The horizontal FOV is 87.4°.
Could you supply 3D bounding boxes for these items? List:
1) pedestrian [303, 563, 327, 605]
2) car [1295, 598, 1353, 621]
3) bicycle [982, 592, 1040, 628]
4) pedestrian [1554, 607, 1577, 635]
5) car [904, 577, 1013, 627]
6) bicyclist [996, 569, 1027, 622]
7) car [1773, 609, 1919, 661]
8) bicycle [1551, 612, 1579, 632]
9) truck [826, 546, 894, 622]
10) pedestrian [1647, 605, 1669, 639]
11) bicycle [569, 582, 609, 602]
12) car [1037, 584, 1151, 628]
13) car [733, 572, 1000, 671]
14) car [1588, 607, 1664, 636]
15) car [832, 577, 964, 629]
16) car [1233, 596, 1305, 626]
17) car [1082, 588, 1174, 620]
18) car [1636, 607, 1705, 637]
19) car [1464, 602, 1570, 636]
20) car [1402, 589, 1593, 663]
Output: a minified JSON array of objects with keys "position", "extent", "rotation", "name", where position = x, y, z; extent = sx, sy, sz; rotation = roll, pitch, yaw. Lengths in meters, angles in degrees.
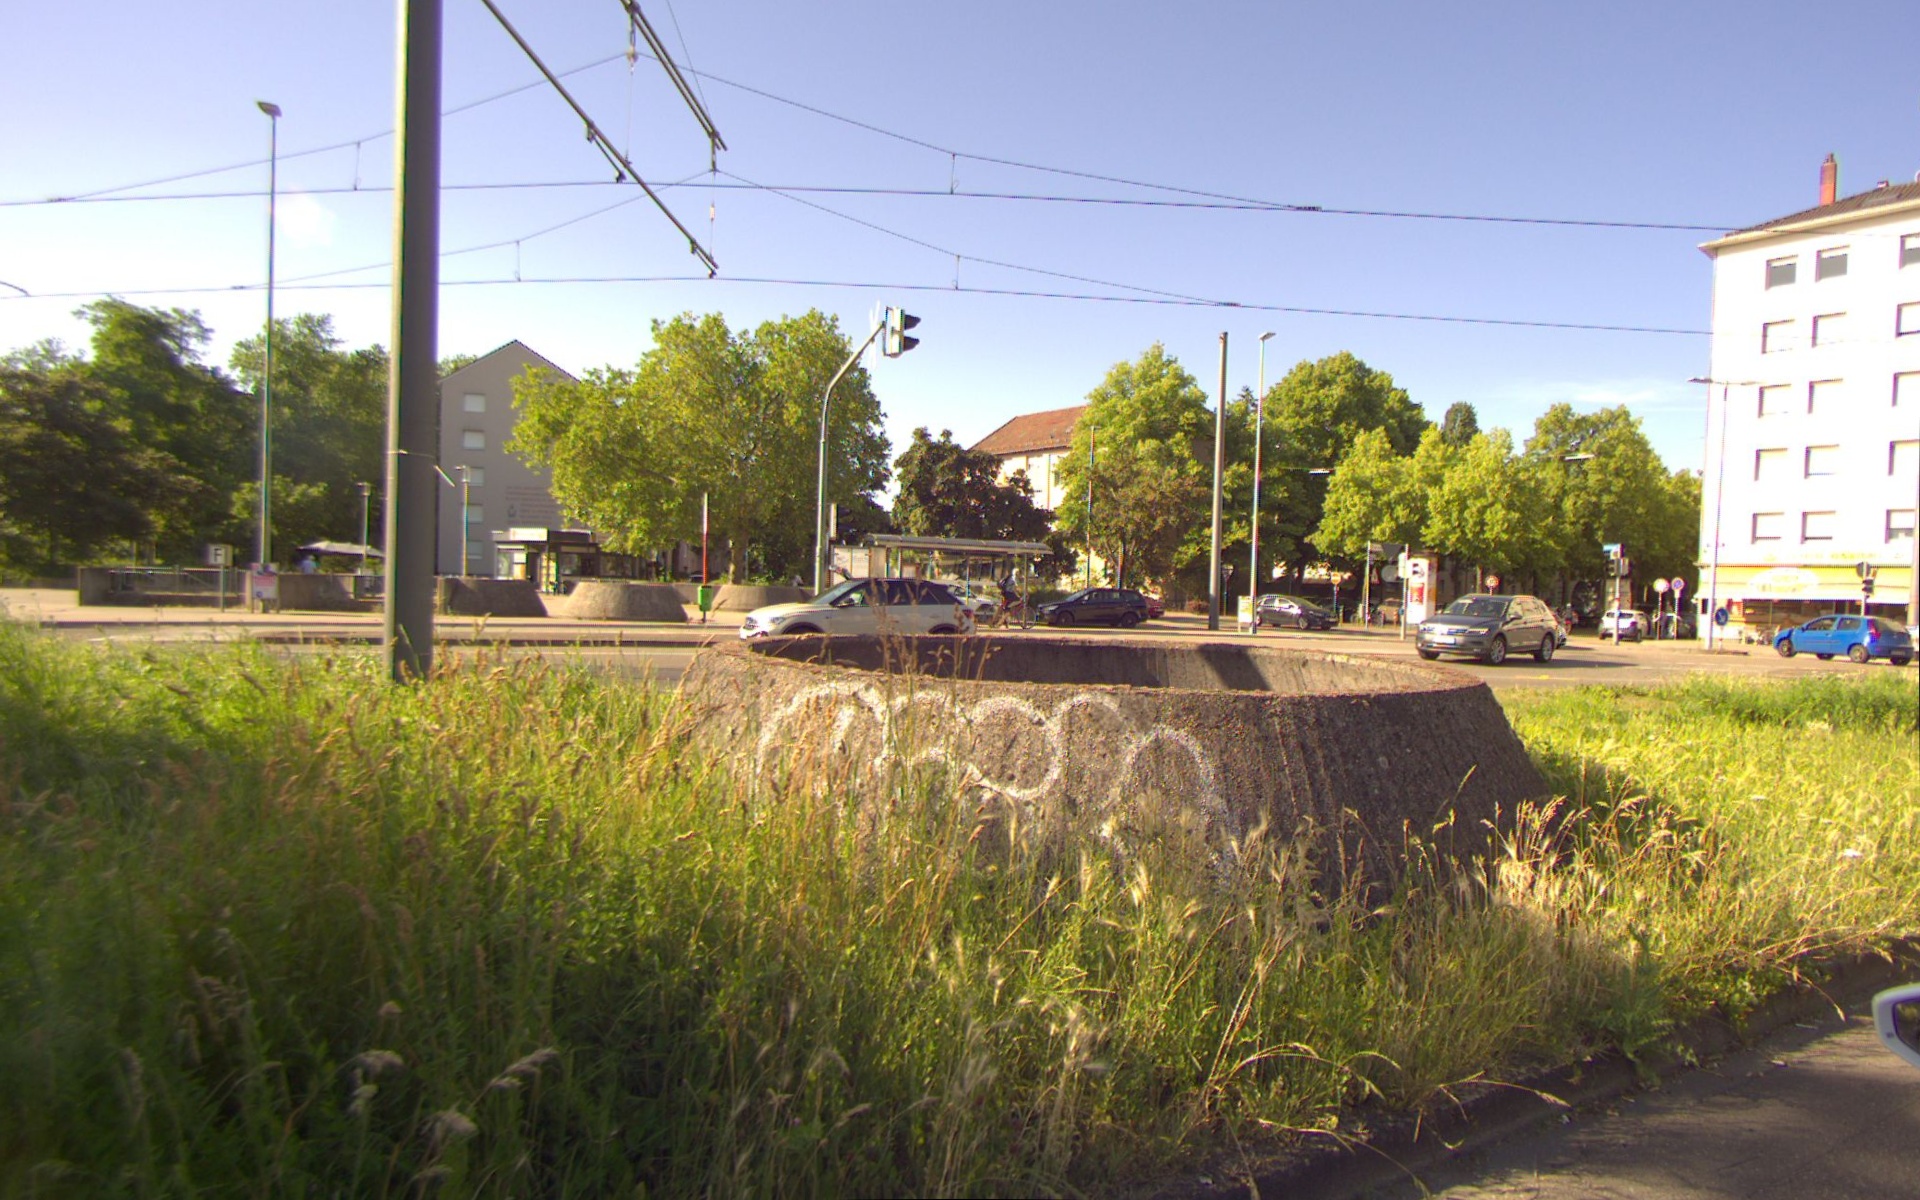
[{"position":[-28.771,-0.722,44.793],"extent":[0.715,1.854,0.557],"rotation":[2,1,-16],"name":"pedestrian"},{"position":[22.344,0.592,61.588],"extent":[3.668,1.311,1.582],"rotation":[1,1,-37],"name":"car"},{"position":[1.523,0.293,29.761],"extent":[1.639,1.015,0.609],"rotation":[0,3,-31],"name":"bicycle"},{"position":[31.729,1.098,52.625],"extent":[0.932,1.447,0.766],"rotation":[1,2,-44],"name":"pedestrian"},{"position":[-0.092,0.068,38.874],"extent":[3.928,1.741,1.760],"rotation":[1,4,-10],"name":"car"},{"position":[1.516,-0.139,29.734],"extent":[0.668,1.551,0.609],"rotation":[0,3,-31],"name":"bicyclist"},{"position":[28.232,1.072,32.142],"extent":[1.619,1.457,3.395],"rotation":[2,1,-1],"name":"car"},{"position":[31.649,1.143,52.552],"extent":[1.844,0.964,0.775],"rotation":[2,2,-45],"name":"bicycle"},{"position":[-4.255,-0.711,43.461],"extent":[1.960,3.035,4.830],"rotation":[2,2,5],"name":"truck"},{"position":[33.700,1.051,48.493],"extent":[0.780,1.643,0.827],"rotation":[2,1,32],"name":"pedestrian"},{"position":[-16.849,-0.355,45.621],"extent":[1.651,0.850,0.548],"rotation":[2,1,10],"name":"bicycle"},{"position":[5.154,0.222,38.726],"extent":[3.942,1.509,1.758],"rotation":[1,4,-15],"name":"car"},{"position":[-1.676,0.383,17.913],"extent":[4.325,1.583,1.989],"rotation":[2,1,-23],"name":"car"},{"position":[33.236,1.089,50.121],"extent":[3.964,1.328,1.978],"rotation":[1,1,-38],"name":"car"},{"position":[-2.210,0.077,36.374],"extent":[4.457,1.565,1.873],"rotation":[2,4,6],"name":"car"},{"position":[17.964,0.655,58.317],"extent":[4.183,1.639,1.748],"rotation":[1,2,-35],"name":"car"},{"position":[8.776,0.190,52.682],"extent":[4.473,1.509,1.748],"rotation":[3,1,39],"name":"car"},{"position":[39.147,1.200,55.340],"extent":[3.901,1.533,1.923],"rotation":[1,1,-36],"name":"car"},{"position":[23.636,0.785,42.686],"extent":[1.683,1.270,3.581],"rotation":[1,1,-41],"name":"car"},{"position":[13.187,0.638,24.592],"extent":[4.662,1.635,1.746],"rotation":[2,1,-27],"name":"car"}]
